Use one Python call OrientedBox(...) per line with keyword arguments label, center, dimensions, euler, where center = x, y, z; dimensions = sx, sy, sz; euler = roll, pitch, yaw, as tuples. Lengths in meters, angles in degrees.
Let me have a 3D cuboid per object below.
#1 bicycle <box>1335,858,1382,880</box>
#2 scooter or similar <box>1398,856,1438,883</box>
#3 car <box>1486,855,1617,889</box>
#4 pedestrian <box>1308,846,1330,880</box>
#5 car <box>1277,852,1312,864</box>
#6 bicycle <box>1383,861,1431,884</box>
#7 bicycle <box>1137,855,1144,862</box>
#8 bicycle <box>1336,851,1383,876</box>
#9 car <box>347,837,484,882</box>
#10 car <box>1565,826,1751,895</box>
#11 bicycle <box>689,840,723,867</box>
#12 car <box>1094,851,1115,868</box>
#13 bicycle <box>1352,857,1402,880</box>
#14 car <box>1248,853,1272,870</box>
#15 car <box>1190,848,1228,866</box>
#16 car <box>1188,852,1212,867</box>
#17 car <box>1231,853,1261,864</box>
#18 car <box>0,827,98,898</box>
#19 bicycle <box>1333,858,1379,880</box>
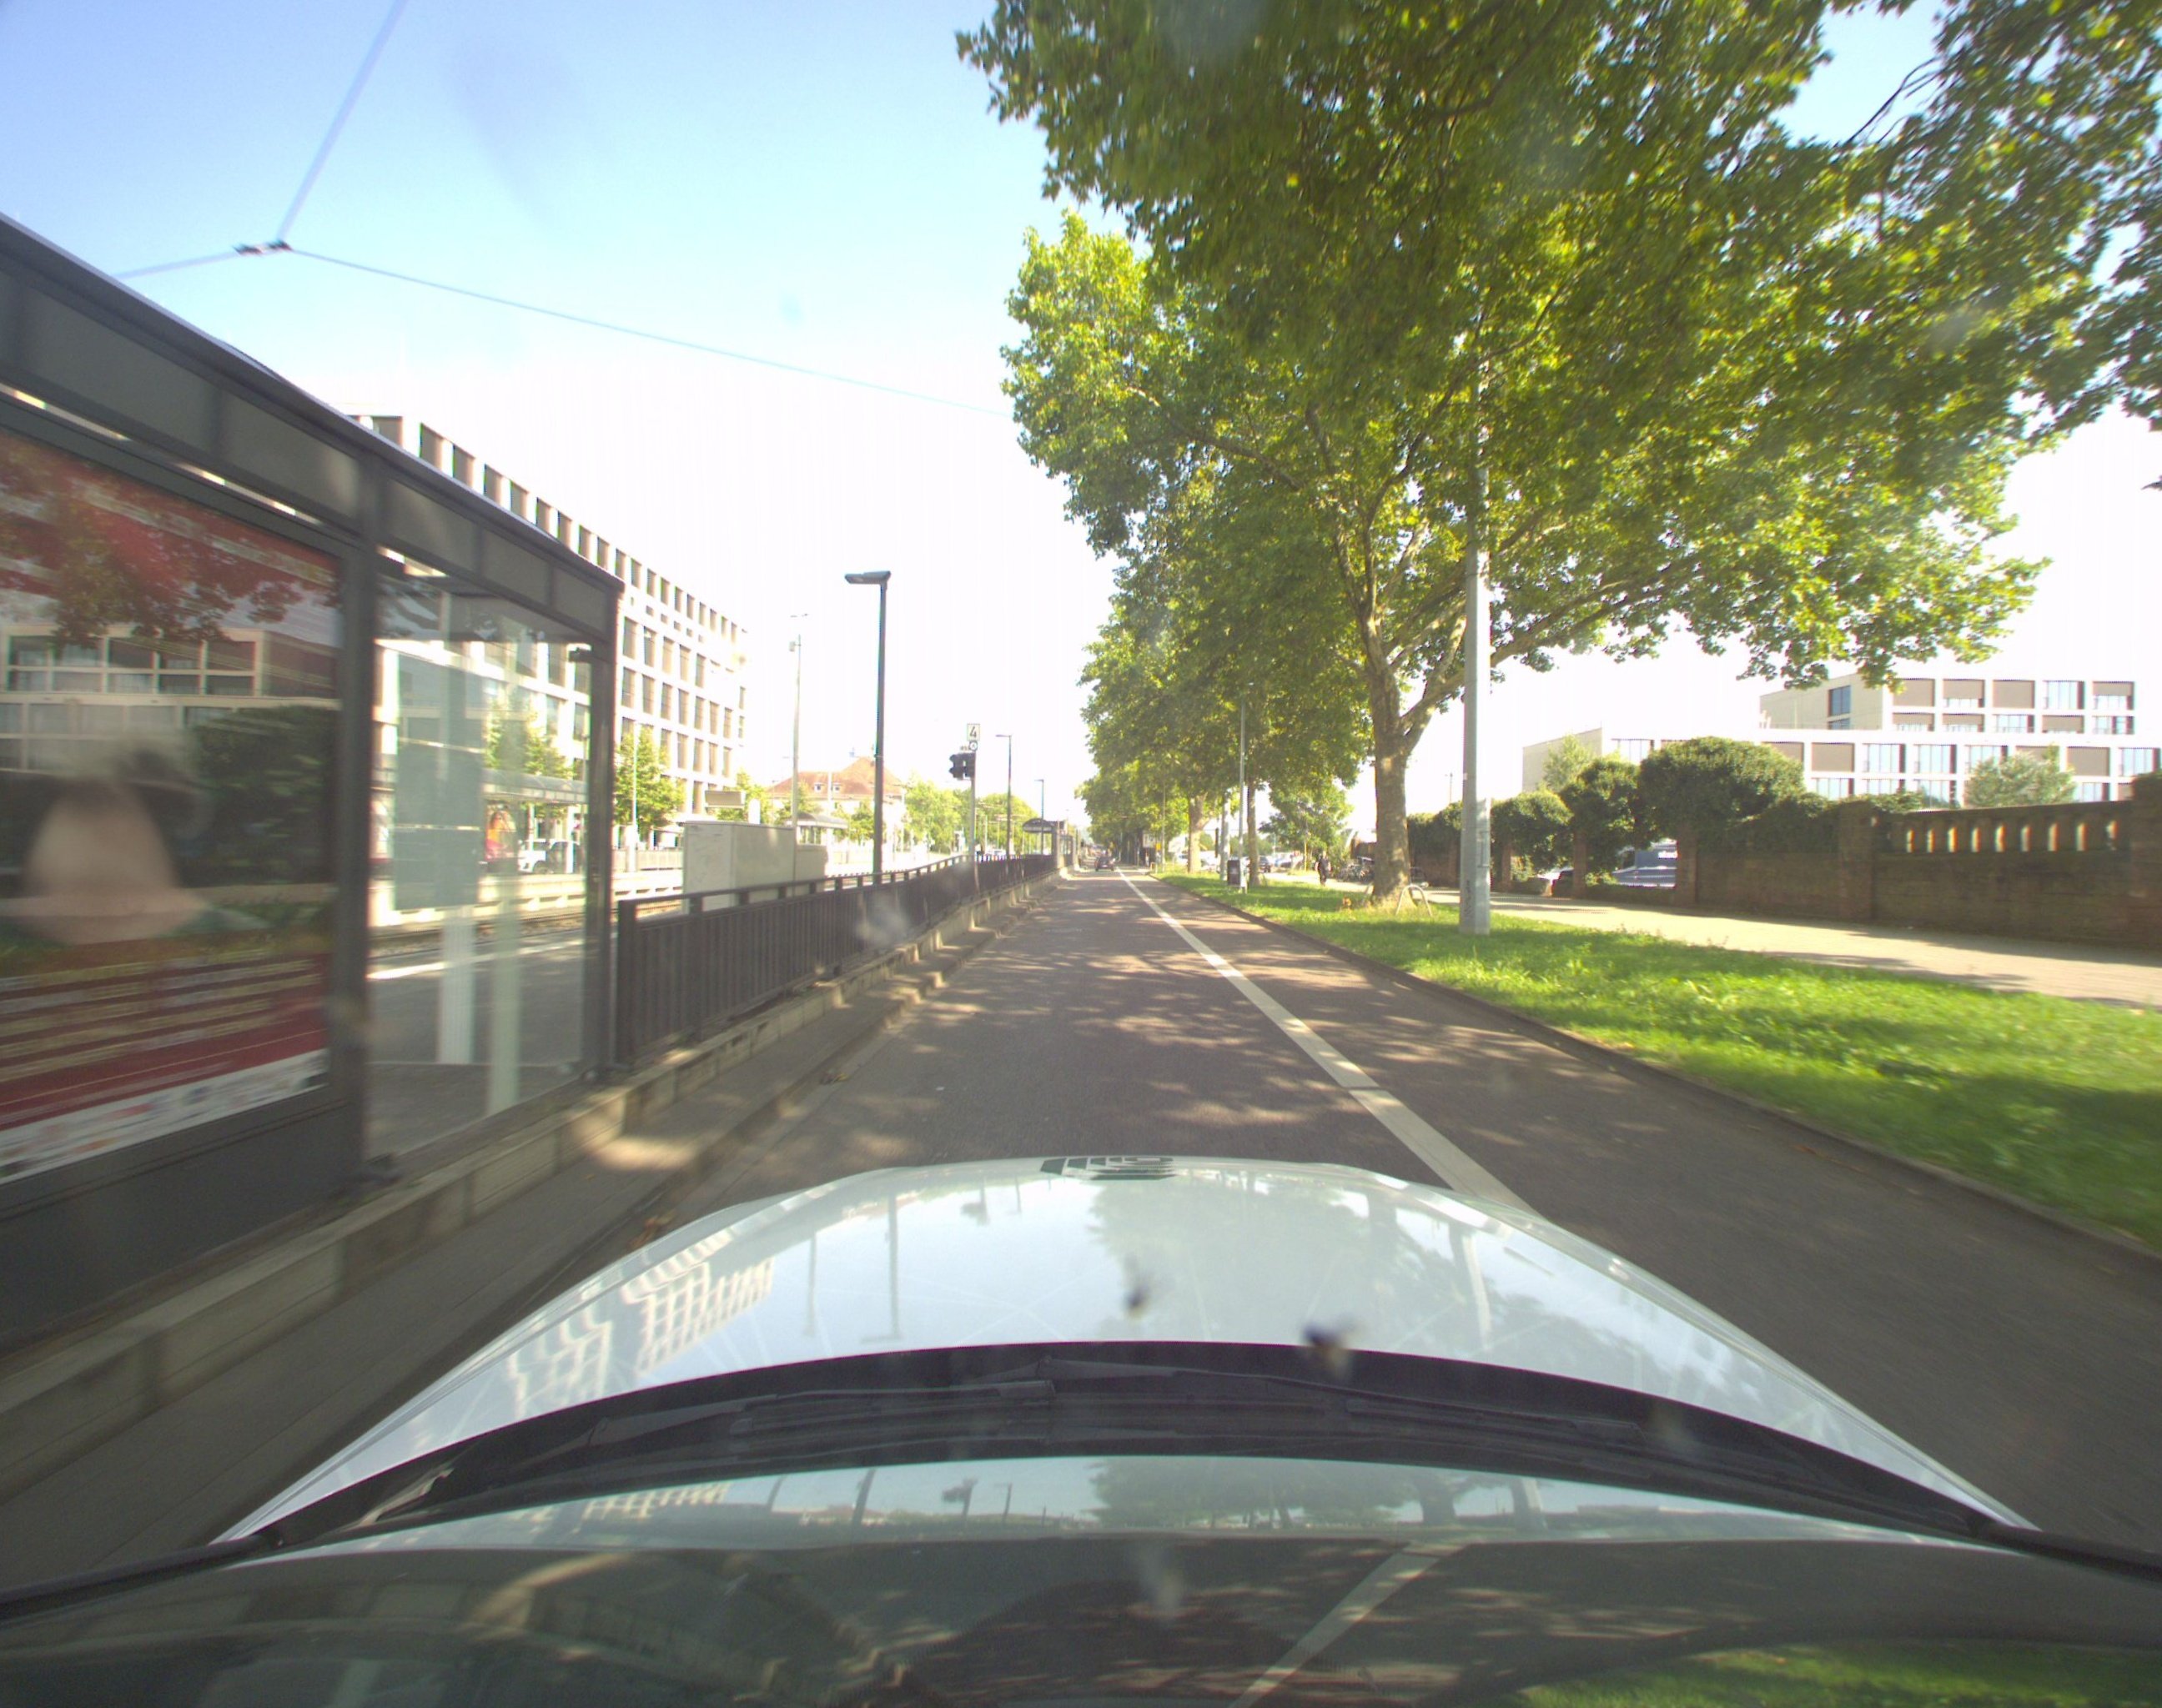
OrientedBox(label="bicycle", center=(14.386, 0.773, 42.231), dimensions=(2.163, 1.076, 0.744), euler=(-2, 0, 4))
OrientedBox(label="scooter or similar", center=(14.755, 0.677, 35.691), dimensions=(1.498, 1.191, 0.539), euler=(-1, -1, 4))
OrientedBox(label="car", center=(21.255, 0.786, 36.920), dimensions=(4.892, 1.479, 2.180), euler=(0, 0, -9))
OrientedBox(label="pedestrian", center=(10.612, 0.402, 36.319), dimensions=(0.781, 1.515, 0.787), euler=(0, 0, 1))
OrientedBox(label="car", center=(29.862, 0.543, 113.923), dimensions=(4.331, 1.464, 1.946), euler=(1, 0, -1))
OrientedBox(label="bicycle", center=(14.744, 0.832, 36.880), dimensions=(1.861, 1.006, 0.735), euler=(1, 0, -1))
OrientedBox(label="bicycle", center=(7.913, 0.590, 108.052), dimensions=(0.609, 1.022, 2.400), euler=(0, 0, -3))
OrientedBox(label="bicycle", center=(15.211, 0.528, 44.522), dimensions=(2.237, 1.277, 0.998), euler=(-1, -1, 0))
OrientedBox(label="car", center=(-24.790, 0.182, 30.568), dimensions=(1.758, 1.574, 4.131), euler=(0, 0, 0))
OrientedBox(label="car", center=(21.555, 0.237, 30.602), dimensions=(5.353, 2.434, 2.252), euler=(1, 0, 2))
OrientedBox(label="bicycle", center=(-16.223, -0.012, 35.237), dimensions=(0.467, 1.147, 1.490), euler=(1, 0, 16))
OrientedBox(label="car", center=(2.255, 0.489, 77.603), dimensions=(1.901, 1.537, 4.000), euler=(-1, 0, 0))
OrientedBox(label="bicycle", center=(14.530, 0.721, 40.000), dimensions=(2.167, 1.076, 0.743), euler=(1, 0, -1))
OrientedBox(label="car", center=(17.612, 0.697, 80.327), dimensions=(1.602, 1.575, 3.797), euler=(0, 0, 1))
OrientedBox(label="car", center=(14.537, 0.338, 92.505), dimensions=(4.085, 1.918, 1.849), euler=(-1, 0, 3))
OrientedBox(label="car", center=(11.498, 0.514, 78.972), dimensions=(1.721, 1.448, 4.552), euler=(0, 0, 1))
OrientedBox(label="car", center=(26.222, 0.725, 129.623), dimensions=(4.331, 1.712, 1.946), euler=(1, 0, -1))
OrientedBox(label="car", center=(-24.945, 0.192, 17.851), dimensions=(1.758, 1.574, 4.131), euler=(0, 0, 0))
OrientedBox(label="bicycle", center=(14.496, 0.787, 43.038), dimensions=(2.163, 1.076, 0.744), euler=(-2, 0, 4))
